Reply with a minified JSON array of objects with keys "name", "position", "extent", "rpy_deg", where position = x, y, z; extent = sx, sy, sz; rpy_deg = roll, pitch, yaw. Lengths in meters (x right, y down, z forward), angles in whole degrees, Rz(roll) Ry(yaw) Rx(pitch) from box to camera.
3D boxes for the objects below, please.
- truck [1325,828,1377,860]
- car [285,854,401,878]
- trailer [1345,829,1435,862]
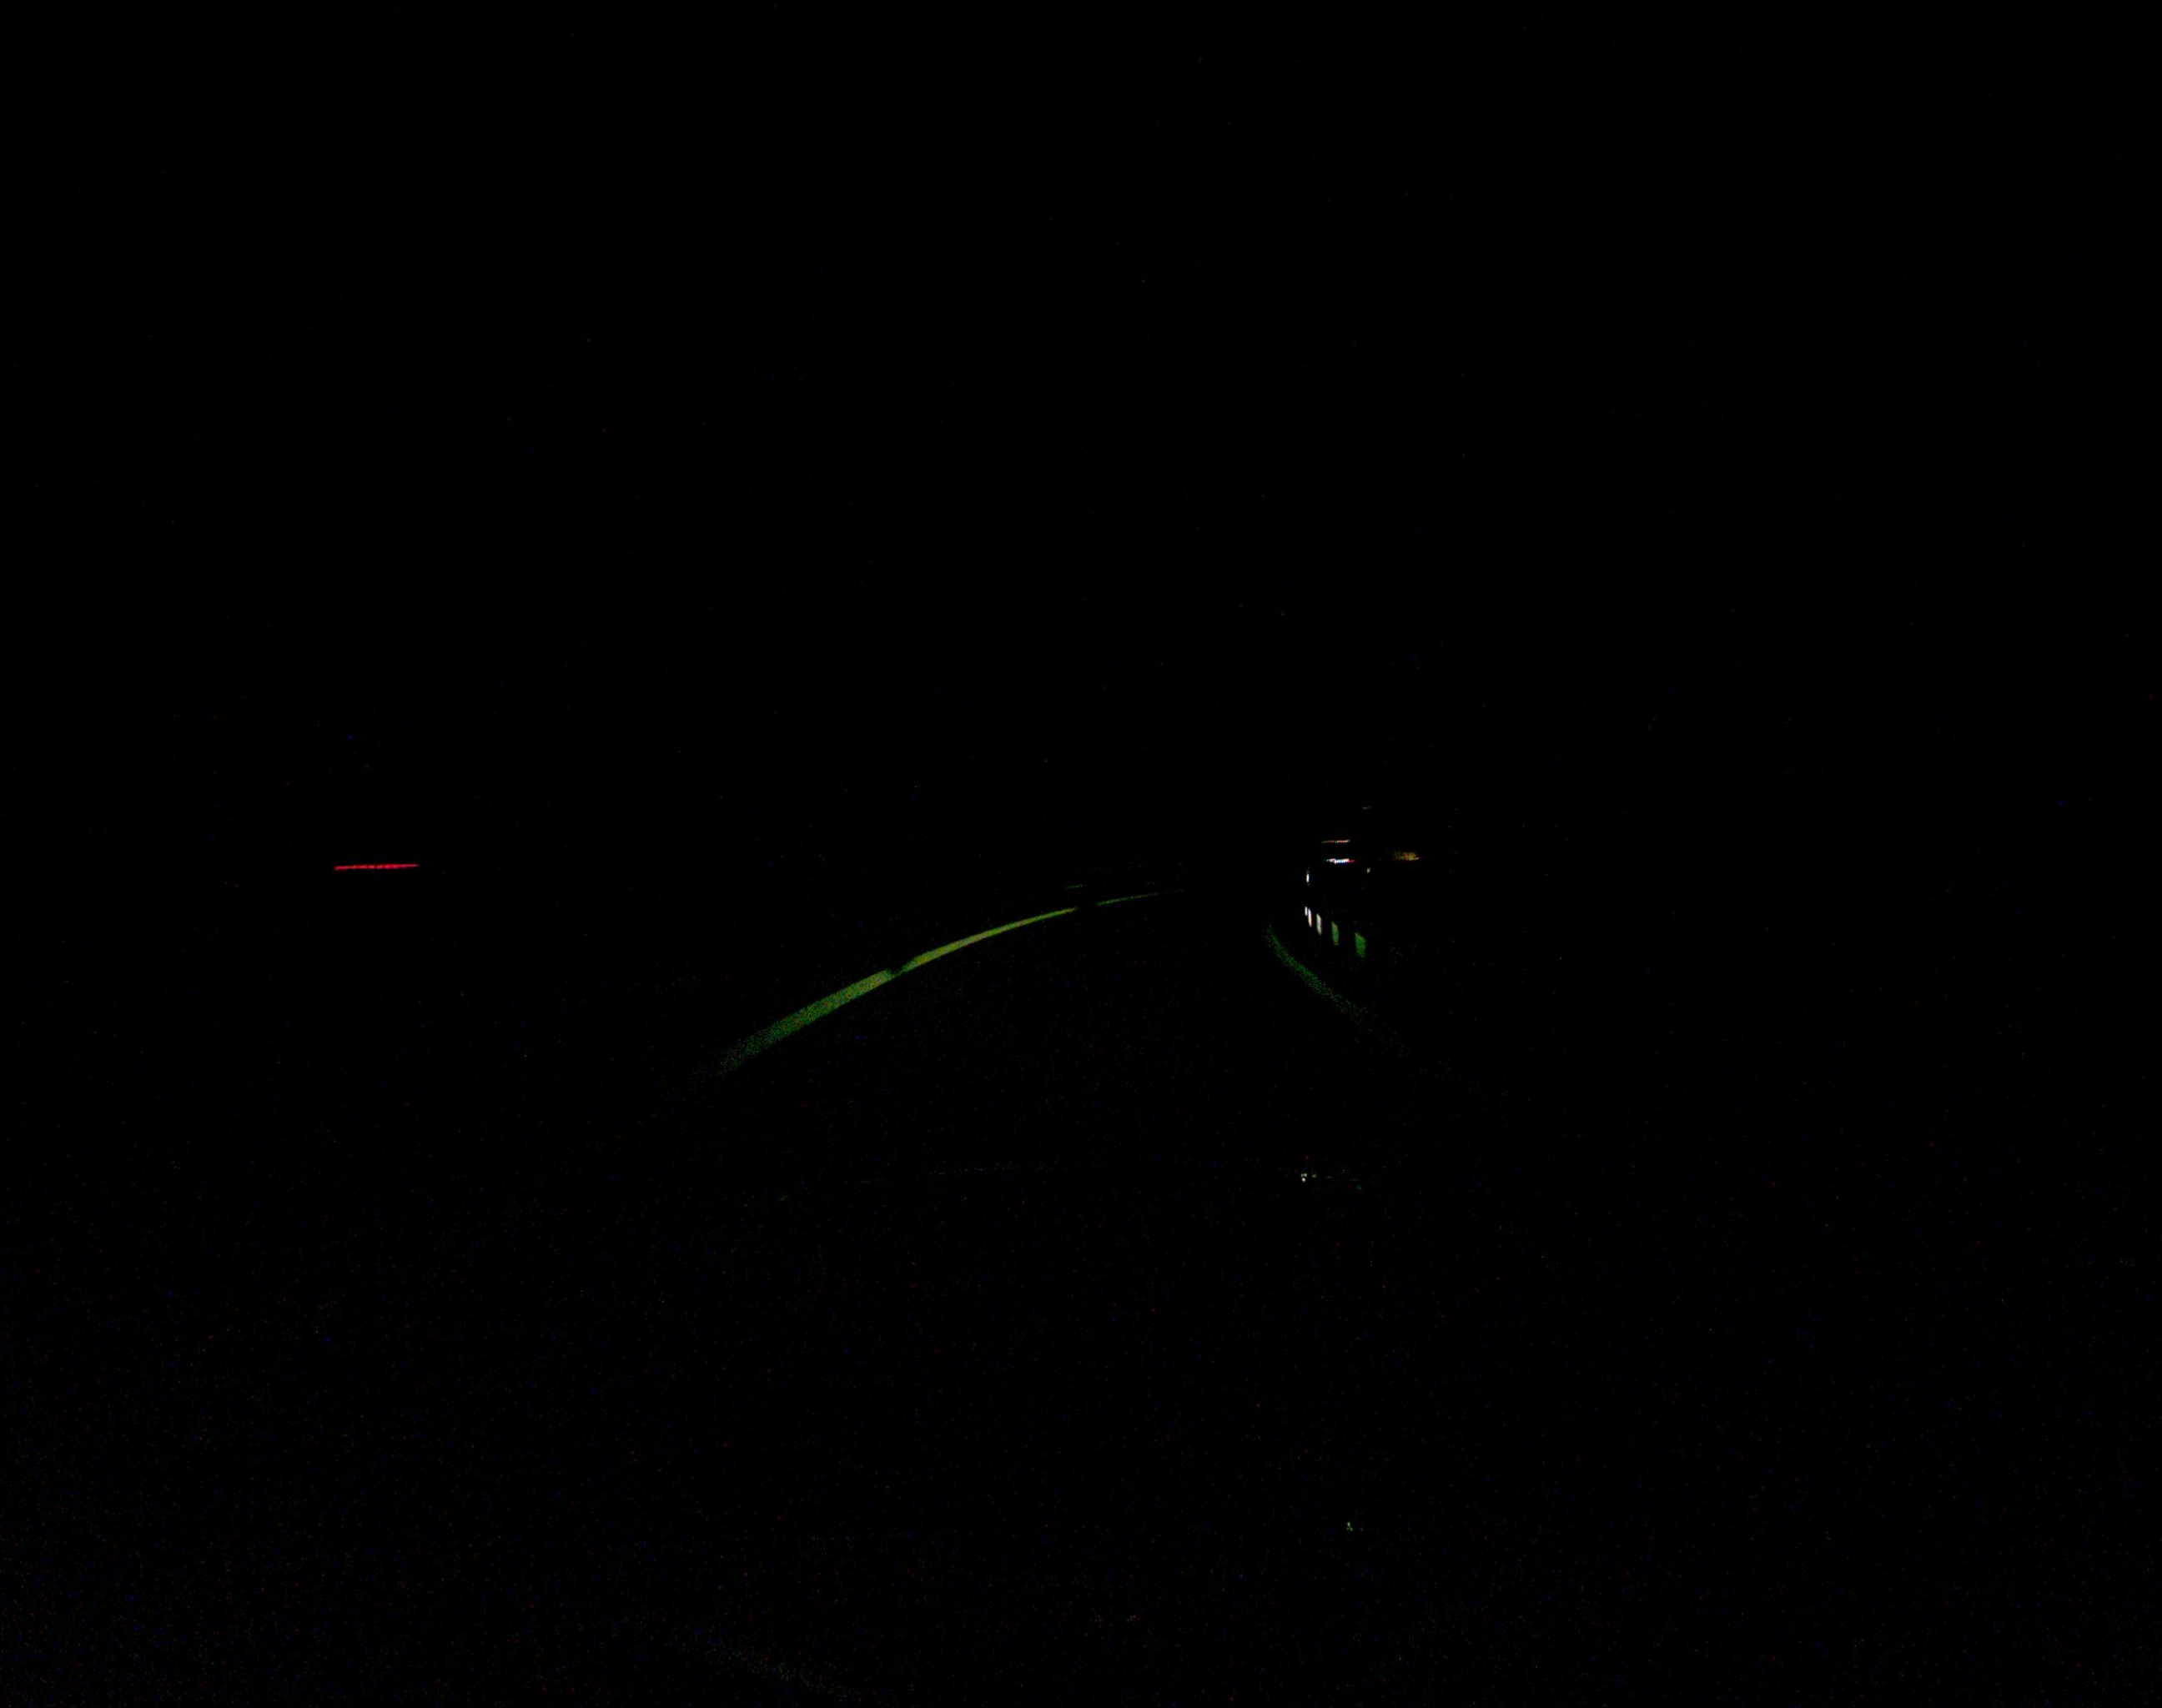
[{"name":"truck","position":[31.113,-1.138,93.780],"extent":[5.987,3.595,2.738],"rpy_deg":[0,0,-35]},{"name":"car","position":[-35.141,0.554,38.916],"extent":[4.020,1.059,1.546],"rpy_deg":[0,0,-40]},{"name":"trailer","position":[37.298,-0.970,97.866],"extent":[13.814,3.816,2.738],"rpy_deg":[0,0,-34]}]
